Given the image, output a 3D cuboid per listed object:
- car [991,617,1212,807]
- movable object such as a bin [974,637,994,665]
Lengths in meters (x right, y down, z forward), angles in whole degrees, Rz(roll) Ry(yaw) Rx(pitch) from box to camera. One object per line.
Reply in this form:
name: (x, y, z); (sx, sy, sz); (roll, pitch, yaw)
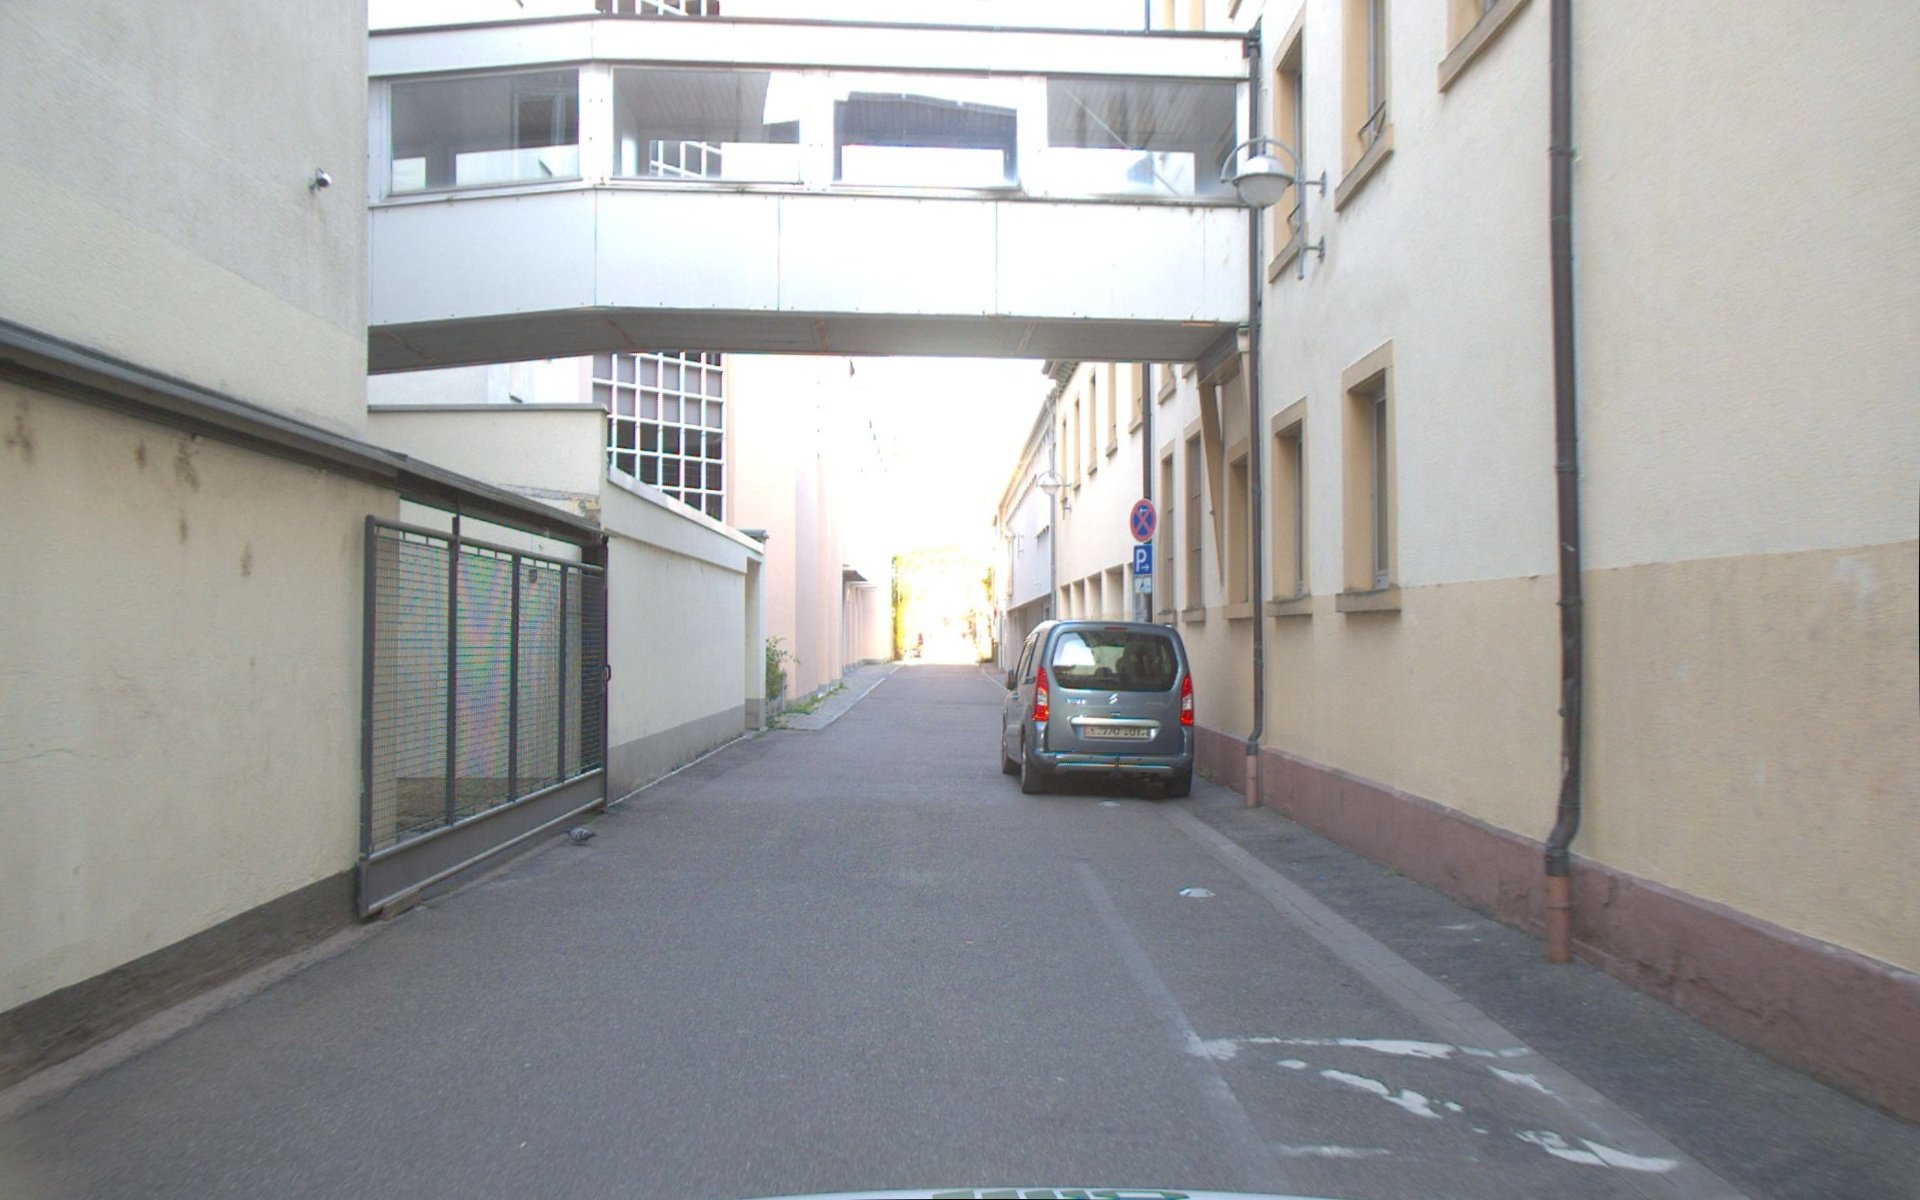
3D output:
car: (1.453, 1.185, 18.505); (1.818, 1.786, 4.159); (3, -2, -3)
movable object such as a bin: (1.303, 2.788, 90.889); (1.084, 1.461, 1.414); (0, 0, -1)
